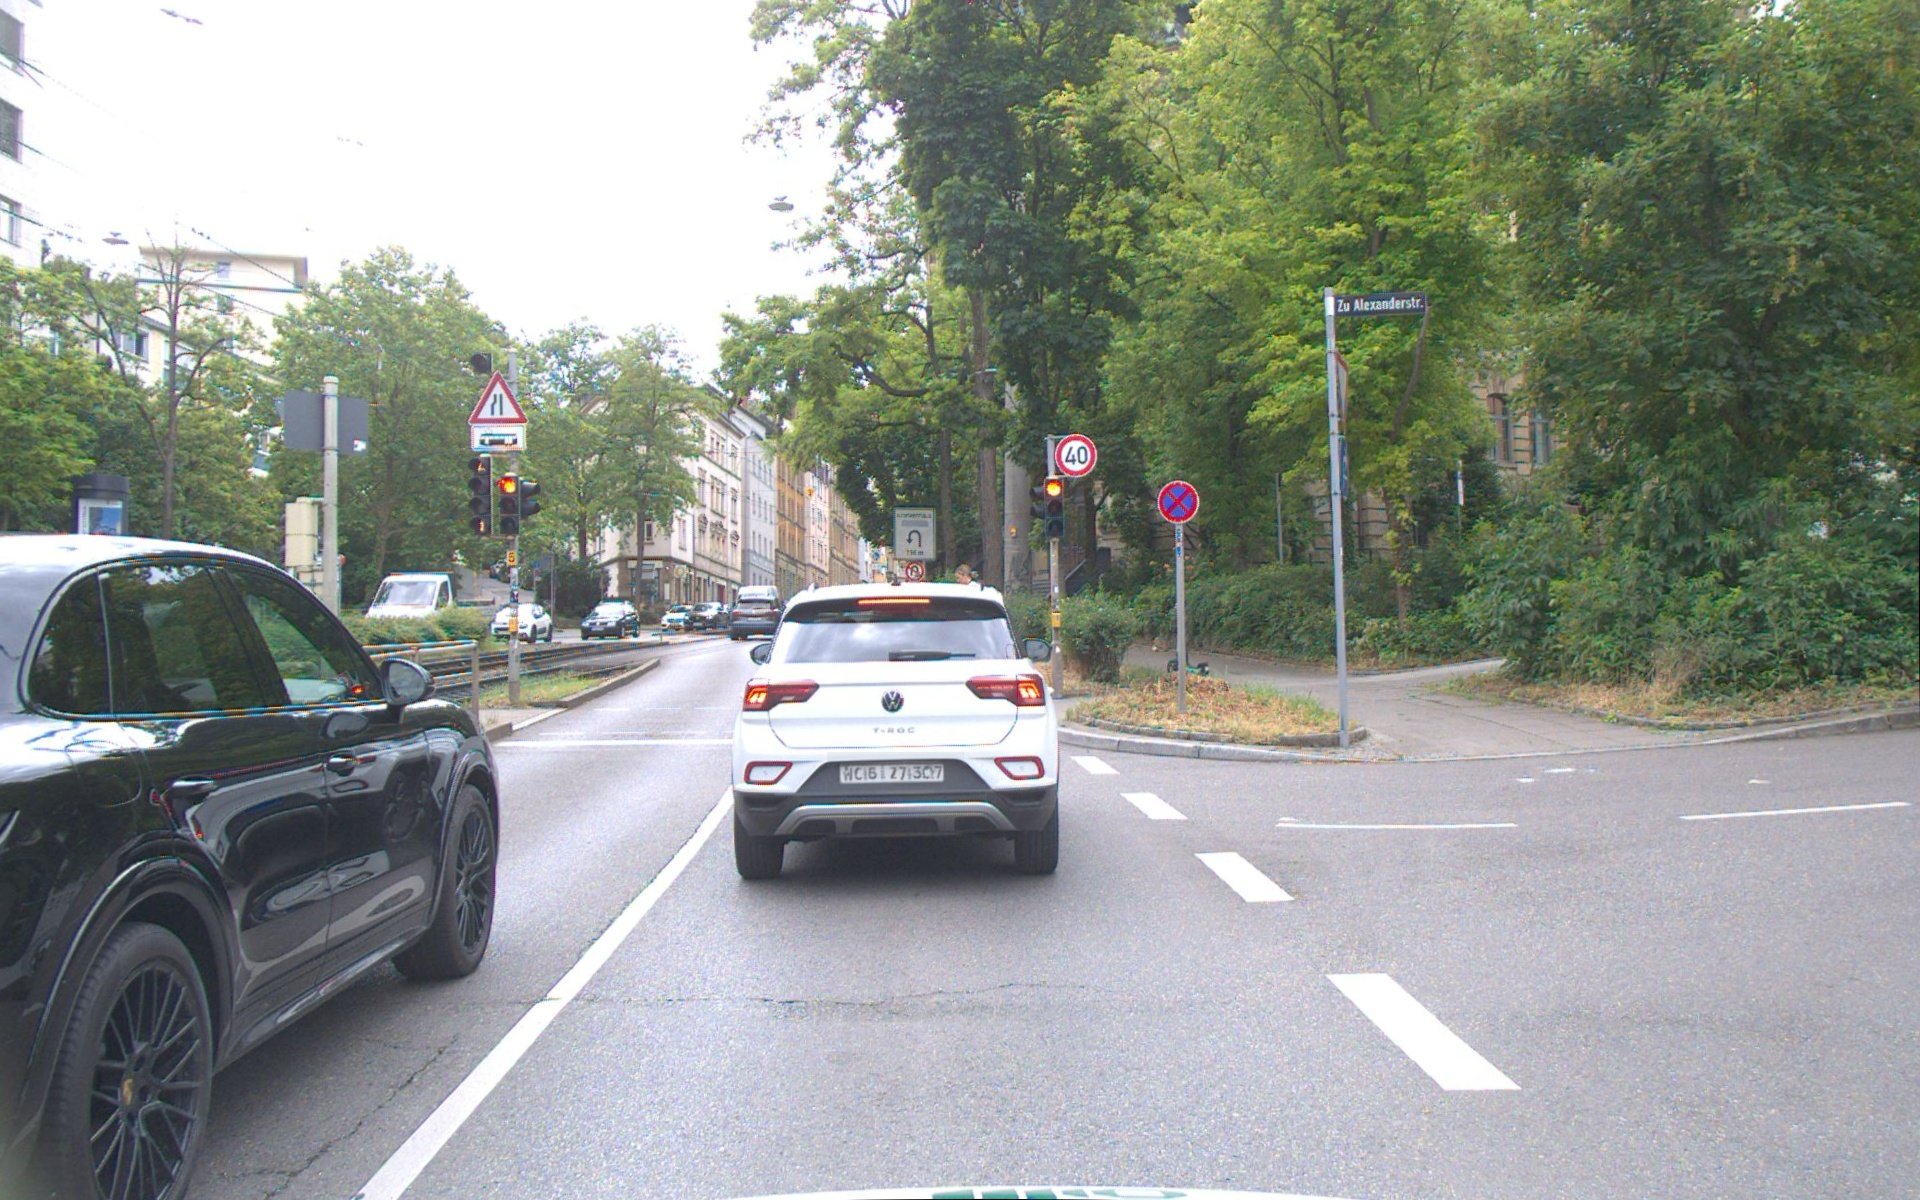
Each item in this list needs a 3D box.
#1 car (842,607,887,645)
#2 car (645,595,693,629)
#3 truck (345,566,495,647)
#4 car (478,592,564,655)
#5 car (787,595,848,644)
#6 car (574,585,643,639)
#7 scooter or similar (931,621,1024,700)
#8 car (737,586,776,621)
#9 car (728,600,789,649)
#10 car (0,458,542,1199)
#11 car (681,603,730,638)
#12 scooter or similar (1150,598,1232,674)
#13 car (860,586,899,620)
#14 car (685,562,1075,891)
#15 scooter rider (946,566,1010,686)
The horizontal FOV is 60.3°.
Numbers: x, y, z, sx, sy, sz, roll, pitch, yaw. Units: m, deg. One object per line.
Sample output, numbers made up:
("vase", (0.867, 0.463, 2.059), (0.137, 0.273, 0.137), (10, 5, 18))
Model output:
("car", (-4.585, 1.253, 79.556), (1.953, 1.652, 3.998), (2, -3, -1))
("car", (-16.278, 0.695, 92.637), (1.953, 1.652, 3.998), (2, -3, -1))
("truck", (-16.039, 0.263, 49.561), (2.372, 2.208, 6.033), (2, -2, 1))
("car", (-15.629, 0.877, 59.070), (1.953, 2.049, 3.998), (2, -3, -1))
("car", (-5.115, 0.736, 59.702), (1.864, 1.602, 3.833), (2, -3, -1))
("car", (-14.422, 0.526, 68.109), (1.953, 2.049, 3.998), (2, -3, -1))
("scooter or similar", (0.243, 0.815, 22.407), (1.162, 1.011, 0.532), (-2, 0, 9))
("car", (-12.689, 0.222, 103.377), (1.953, 2.049, 3.999), (-2, 0, -1))
("car", (-7.737, 0.968, 63.796), (1.802, 1.770, 3.999), (-1, -2, 0))
("car", (-2.770, 0.664, 4.850), (1.986, 1.714, 4.779), (0, -2, -2))
("car", (-13.444, 1.095, 87.525), (1.953, 1.652, 3.998), (2, -3, -1))
("scooter or similar", (3.549, 0.551, 25.502), (0.469, 1.119, 1.353), (-2, 0, -33))
("car", (-5.610, 0.204, 116.310), (2.372, 2.207, 6.033), (-2, 0, 0))
("car", (-0.382, 0.619, 10.068), (1.898, 1.594, 4.046), (0, 0, 0))
("scooter rider", (0.248, 0.348, 22.400), (0.761, 1.585, 0.533), (-2, 0, 9))
